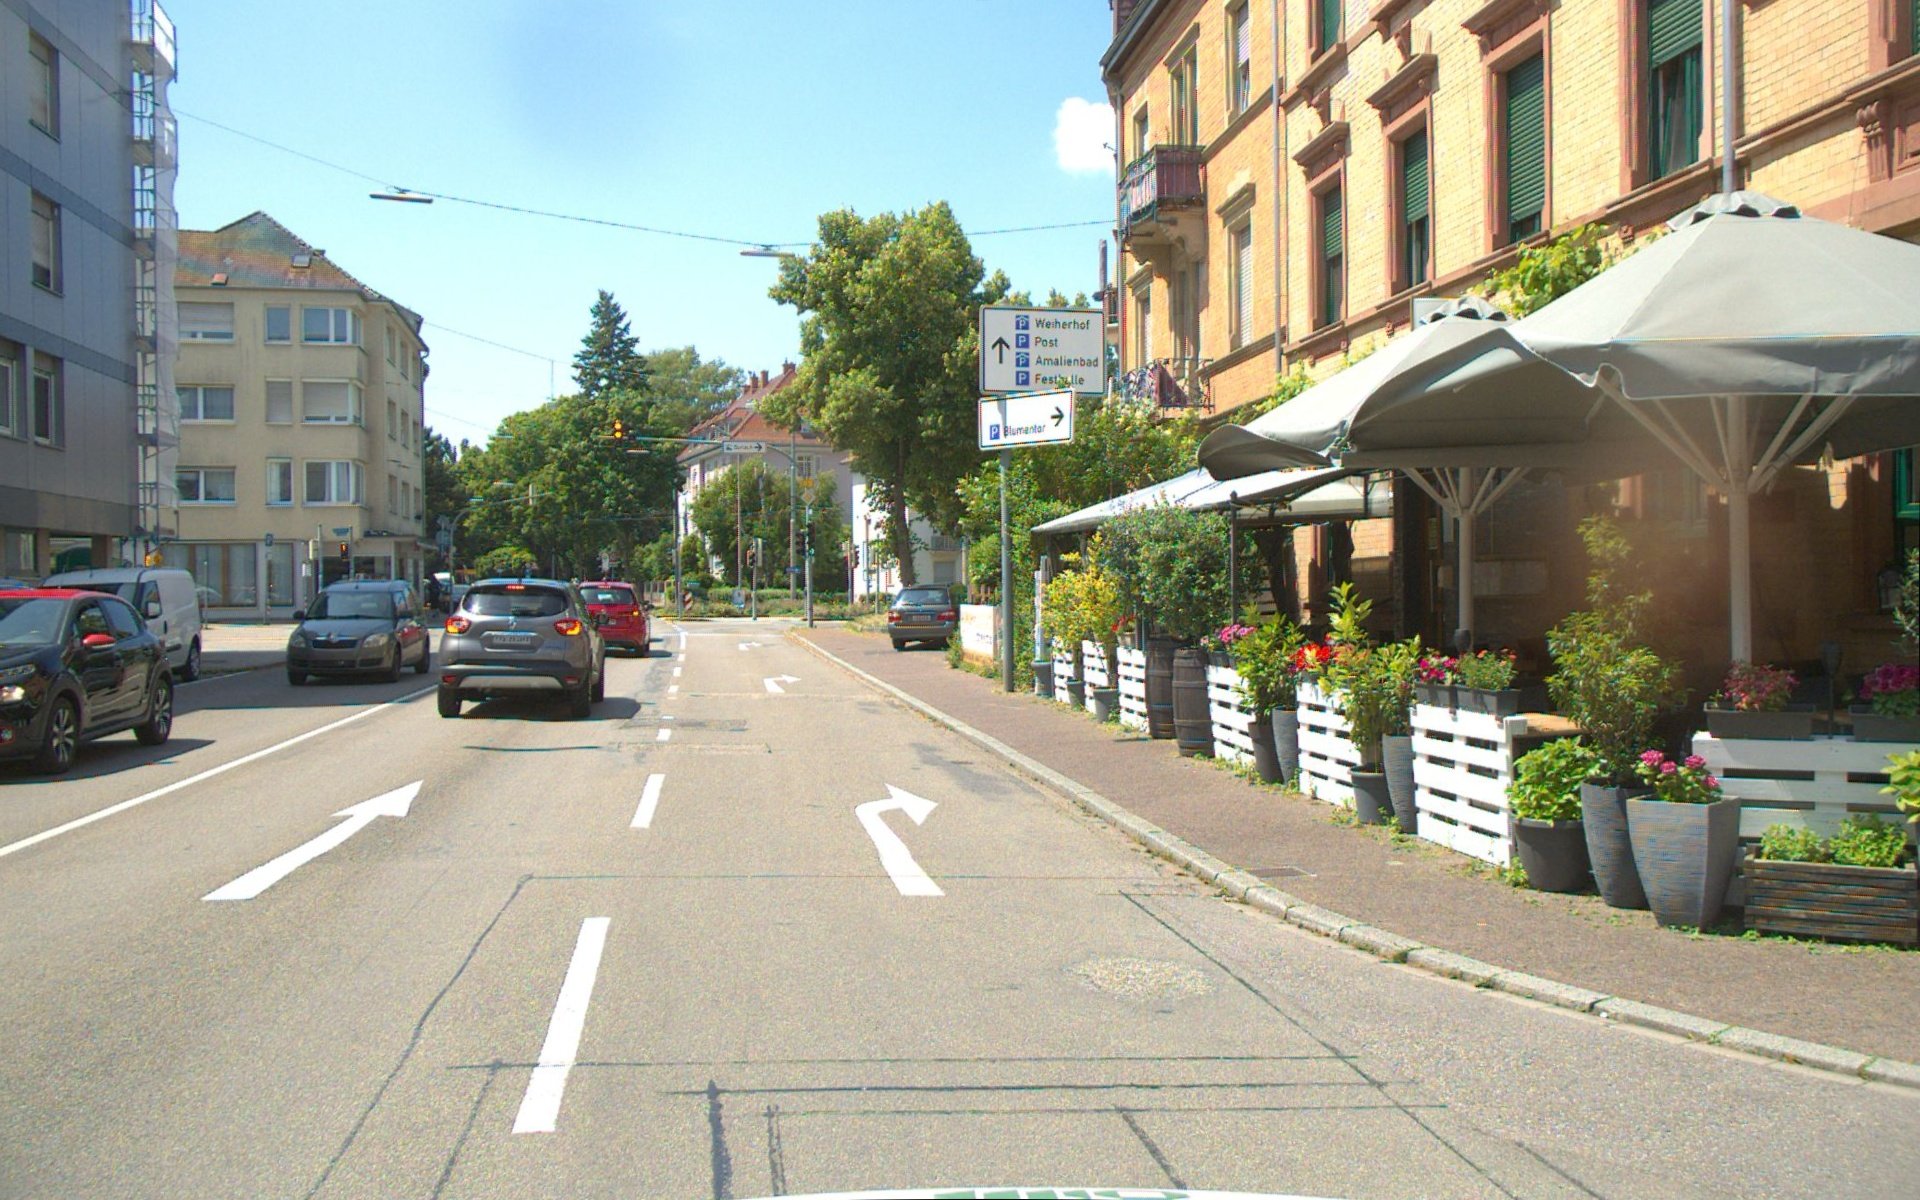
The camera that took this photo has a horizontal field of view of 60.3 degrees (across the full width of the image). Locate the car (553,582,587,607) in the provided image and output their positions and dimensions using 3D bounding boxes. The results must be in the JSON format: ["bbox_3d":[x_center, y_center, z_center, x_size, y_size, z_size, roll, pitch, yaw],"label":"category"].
[{"bbox_3d":[-29.972,-0.433,127.077,1.966,1.839,3.974,1,0,-22],"label":"car"}]

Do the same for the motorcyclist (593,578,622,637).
[{"bbox_3d":[-8.851,0.180,41.561,0.698,1.471,1.016,0,0,-11],"label":"motorcyclist"}]

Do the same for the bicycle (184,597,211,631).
[{"bbox_3d":[-22.950,0.417,49.794,0.390,0.984,1.777,0,0,-13],"label":"bicycle"}]

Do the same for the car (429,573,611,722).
[{"bbox_3d":[-5.345,0.517,20.519,1.721,1.660,3.992,1,0,-9],"label":"car"}]

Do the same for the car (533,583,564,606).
[{"bbox_3d":[-34.742,-0.468,139.596,1.966,1.940,3.974,1,0,-22],"label":"car"}]

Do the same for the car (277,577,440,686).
[{"bbox_3d":[-9.721,0.452,27.047,1.670,1.602,4.303,-1,0,-9],"label":"car"}]

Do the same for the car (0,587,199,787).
[{"bbox_3d":[-8.181,0.661,14.455,1.670,1.503,4.125,-1,0,-9],"label":"car"}]

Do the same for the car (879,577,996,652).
[{"bbox_3d":[-0.458,0.300,39.919,1.795,1.575,5.162,-1,2,11],"label":"car"}]

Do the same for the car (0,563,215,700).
[{"bbox_3d":[-13.160,0.440,25.540,1.879,1.857,4.776,-2,0,-11],"label":"car"}]

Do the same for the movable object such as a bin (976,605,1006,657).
[{"bbox_3d":[0.650,0.646,34.959,0.636,1.090,0.637,0,0,1],"label":"movable object such as a bin"}]

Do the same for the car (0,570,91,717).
[{"bbox_3d":[-11.929,0.521,19.282,1.851,1.669,4.651,-2,0,-11],"label":"car"}]

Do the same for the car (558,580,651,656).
[{"bbox_3d":[-7.861,0.372,36.840,1.766,1.585,4.029,1,0,-9],"label":"car"}]

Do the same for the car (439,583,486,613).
[{"bbox_3d":[-26.164,-0.082,86.839,1.966,1.546,3.972,1,-1,-23],"label":"car"}]

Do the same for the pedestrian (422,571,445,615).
[{"bbox_3d":[-23.638,-0.328,74.243,0.922,1.965,0.971,0,0,-22],"label":"pedestrian"}]
